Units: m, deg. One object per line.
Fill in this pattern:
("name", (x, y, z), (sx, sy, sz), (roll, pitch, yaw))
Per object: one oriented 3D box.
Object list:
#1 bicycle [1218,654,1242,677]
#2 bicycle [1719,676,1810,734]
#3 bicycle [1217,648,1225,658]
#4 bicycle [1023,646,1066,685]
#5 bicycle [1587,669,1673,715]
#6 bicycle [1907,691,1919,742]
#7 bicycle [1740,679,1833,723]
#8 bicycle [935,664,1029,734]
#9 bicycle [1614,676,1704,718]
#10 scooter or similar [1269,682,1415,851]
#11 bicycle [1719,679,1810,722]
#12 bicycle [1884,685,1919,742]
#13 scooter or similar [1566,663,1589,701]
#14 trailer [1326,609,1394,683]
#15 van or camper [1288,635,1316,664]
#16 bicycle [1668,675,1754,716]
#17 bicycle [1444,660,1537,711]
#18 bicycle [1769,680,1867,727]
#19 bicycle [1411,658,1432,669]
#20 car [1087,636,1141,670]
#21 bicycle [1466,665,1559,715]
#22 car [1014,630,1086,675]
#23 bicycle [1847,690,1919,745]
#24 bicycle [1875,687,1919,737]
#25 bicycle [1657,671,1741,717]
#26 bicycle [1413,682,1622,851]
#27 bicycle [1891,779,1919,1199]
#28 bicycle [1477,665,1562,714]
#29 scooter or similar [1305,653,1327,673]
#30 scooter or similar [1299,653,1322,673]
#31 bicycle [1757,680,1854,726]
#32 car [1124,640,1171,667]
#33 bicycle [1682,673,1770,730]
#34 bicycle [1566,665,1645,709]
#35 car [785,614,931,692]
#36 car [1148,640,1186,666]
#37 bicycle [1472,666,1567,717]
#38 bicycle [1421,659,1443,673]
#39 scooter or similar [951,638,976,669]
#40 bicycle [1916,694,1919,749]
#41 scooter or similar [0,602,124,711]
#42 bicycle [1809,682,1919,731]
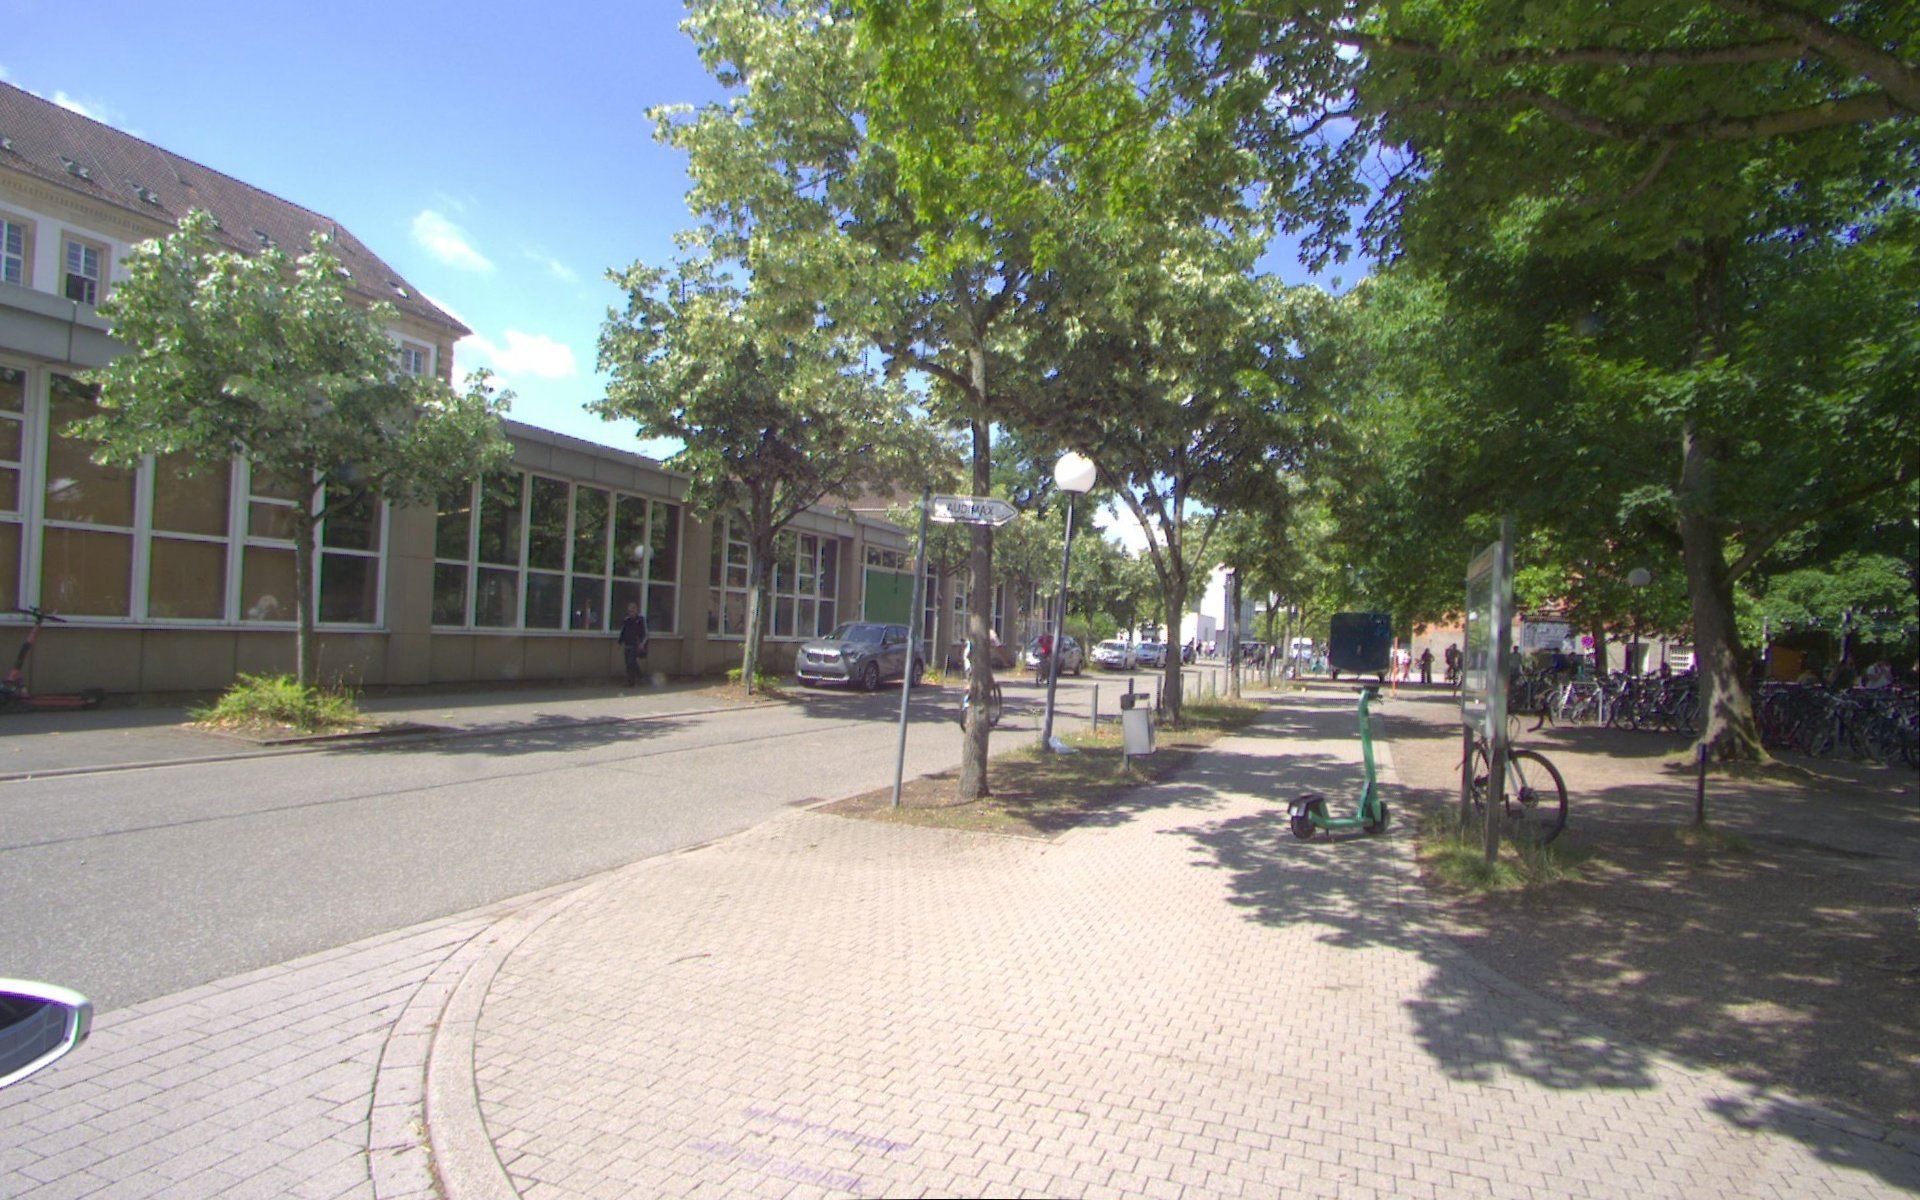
("bicycle", (13.001, 3.166, 48.168), (0.797, 1.015, 2.120), (3, -2, 23))
("bicycle", (17.310, 2.239, 21.605), (0.469, 1.096, 1.905), (2, -2, 2))
("bicycle", (28.909, 5.868, 110.815), (0.516, 0.997, 1.628), (1, -2, 26))
("bicycle", (2.616, 2.041, 30.805), (0.804, 1.054, 1.931), (3, -5, 19))
("bicycle", (17.988, 2.462, 26.909), (1.867, 1.132, 0.613), (2, -1, 1))
("bicycle", (19.856, 2.344, 19.858), (1.868, 0.991, 0.478), (2, -1, -8))
("bicycle", (19.962, 2.436, 24.189), (1.867, 0.991, 0.422), (2, -1, 1))
("bicycle", (0.412, 1.628, 16.916), (0.797, 1.015, 2.119), (4, -1, 23))
("bicycle", (17.915, 2.484, 25.694), (1.867, 0.991, 0.613), (2, -2, 1))
("scooter or similar", (2.975, 1.232, 7.741), (1.349, 1.129, 0.492), (2, 0, -43))
("bicycle", (19.802, 2.470, 24.653), (1.867, 0.991, 0.422), (2, -1, 1))
("bicycle", (18.149, 2.125, 18.830), (1.875, 0.991, 0.477), (3, -2, -26))
("scooter or similar", (20.530, 2.712, 33.310), (0.418, 1.234, 1.292), (2, -2, 23))
("trailer", (18.476, 2.134, 46.383), (2.653, 3.090, 6.247), (1, -2, 21))
("van or camper", (31.680, 4.621, 92.653), (1.967, 2.476, 4.559), (2, -3, 25))
("bicycle", (19.985, 2.542, 26.652), (1.867, 0.991, 0.479), (2, -1, 4))
("bicycle", (13.619, 2.190, 25.744), (1.982, 1.182, 0.652), (2, -1, 11))
("bicycle", (19.793, 2.383, 23.110), (1.867, 0.991, 0.479), (2, -1, 0))
("bicycle", (45.424, 6.209, 98.529), (1.784, 0.997, 0.559), (1, -2, 22))
("car", (7.840, 2.685, 50.537), (1.700, 1.475, 4.577), (4, -1, 21))
("bicycle", (13.412, 2.183, 24.330), (1.913, 1.096, 0.404), (2, -1, 11))
("car", (3.660, 2.090, 39.938), (1.732, 1.576, 4.107), (4, -1, 21))
("bicycle", (17.906, 2.257, 19.350), (1.875, 0.991, 0.477), (3, -2, -26))
("bicycle", (20.364, 2.369, 21.151), (1.869, 0.991, 0.536), (2, -2, -11))
("bicycle", (20.294, 2.583, 27.514), (1.867, 1.158, 0.479), (2, -1, 4))
("bicycle", (4.234, 1.214, 7.754), (0.616, 1.096, 1.690), (5, -4, 0))
("bicycle", (2.865, 1.007, 2.379), (1.764, 1.155, 0.602), (3, -3, -35))
("bicycle", (13.746, 2.195, 24.640), (1.739, 1.096, 0.438), (2, -1, 11))
("scooter or similar", (24.187, 4.247, 67.984), (0.632, 1.281, 1.256), (3, -1, -35))
("scooter or similar", (23.587, 4.221, 67.359), (0.643, 1.281, 1.256), (3, -1, -35))
("bicycle", (19.834, 2.402, 23.509), (1.867, 0.991, 0.479), (2, -1, 0))
("car", (10.919, 3.103, 58.097), (1.701, 1.361, 4.156), (4, -1, 24))
("bicycle", (16.372, 2.139, 21.456), (0.469, 1.096, 1.905), (2, -2, 2))
("bicycle", (18.081, 2.439, 28.069), (1.774, 1.132, 0.613), (2, -1, 1))
("car", (-2.444, 1.320, 25.359), (1.795, 1.653, 4.511), (5, -1, 20))
("car", (13.259, 3.372, 63.868), (1.639, 1.430, 3.800), (4, -1, 22))
("bicycle", (13.342, 2.177, 23.904), (1.913, 1.096, 0.404), (2, -1, 11))
("bicycle", (38.380, 5.392, 81.421), (1.513, 1.046, 0.559), (1, -1, 22))
("scooter or similar", (0.149, 2.090, 39.226), (0.498, 1.184, 1.213), (4, -1, 23))
("bicycle", (18.319, 2.228, 18.239), (1.871, 0.991, 0.478), (3, -2, -18))
("scooter or similar", (-10.922, 0.665, 12.054), (0.377, 1.223, 1.243), (5, 0, 21))
("bicycle", (19.983, 2.351, 22.151), (1.867, 0.991, 0.613), (2, -2, 1))
